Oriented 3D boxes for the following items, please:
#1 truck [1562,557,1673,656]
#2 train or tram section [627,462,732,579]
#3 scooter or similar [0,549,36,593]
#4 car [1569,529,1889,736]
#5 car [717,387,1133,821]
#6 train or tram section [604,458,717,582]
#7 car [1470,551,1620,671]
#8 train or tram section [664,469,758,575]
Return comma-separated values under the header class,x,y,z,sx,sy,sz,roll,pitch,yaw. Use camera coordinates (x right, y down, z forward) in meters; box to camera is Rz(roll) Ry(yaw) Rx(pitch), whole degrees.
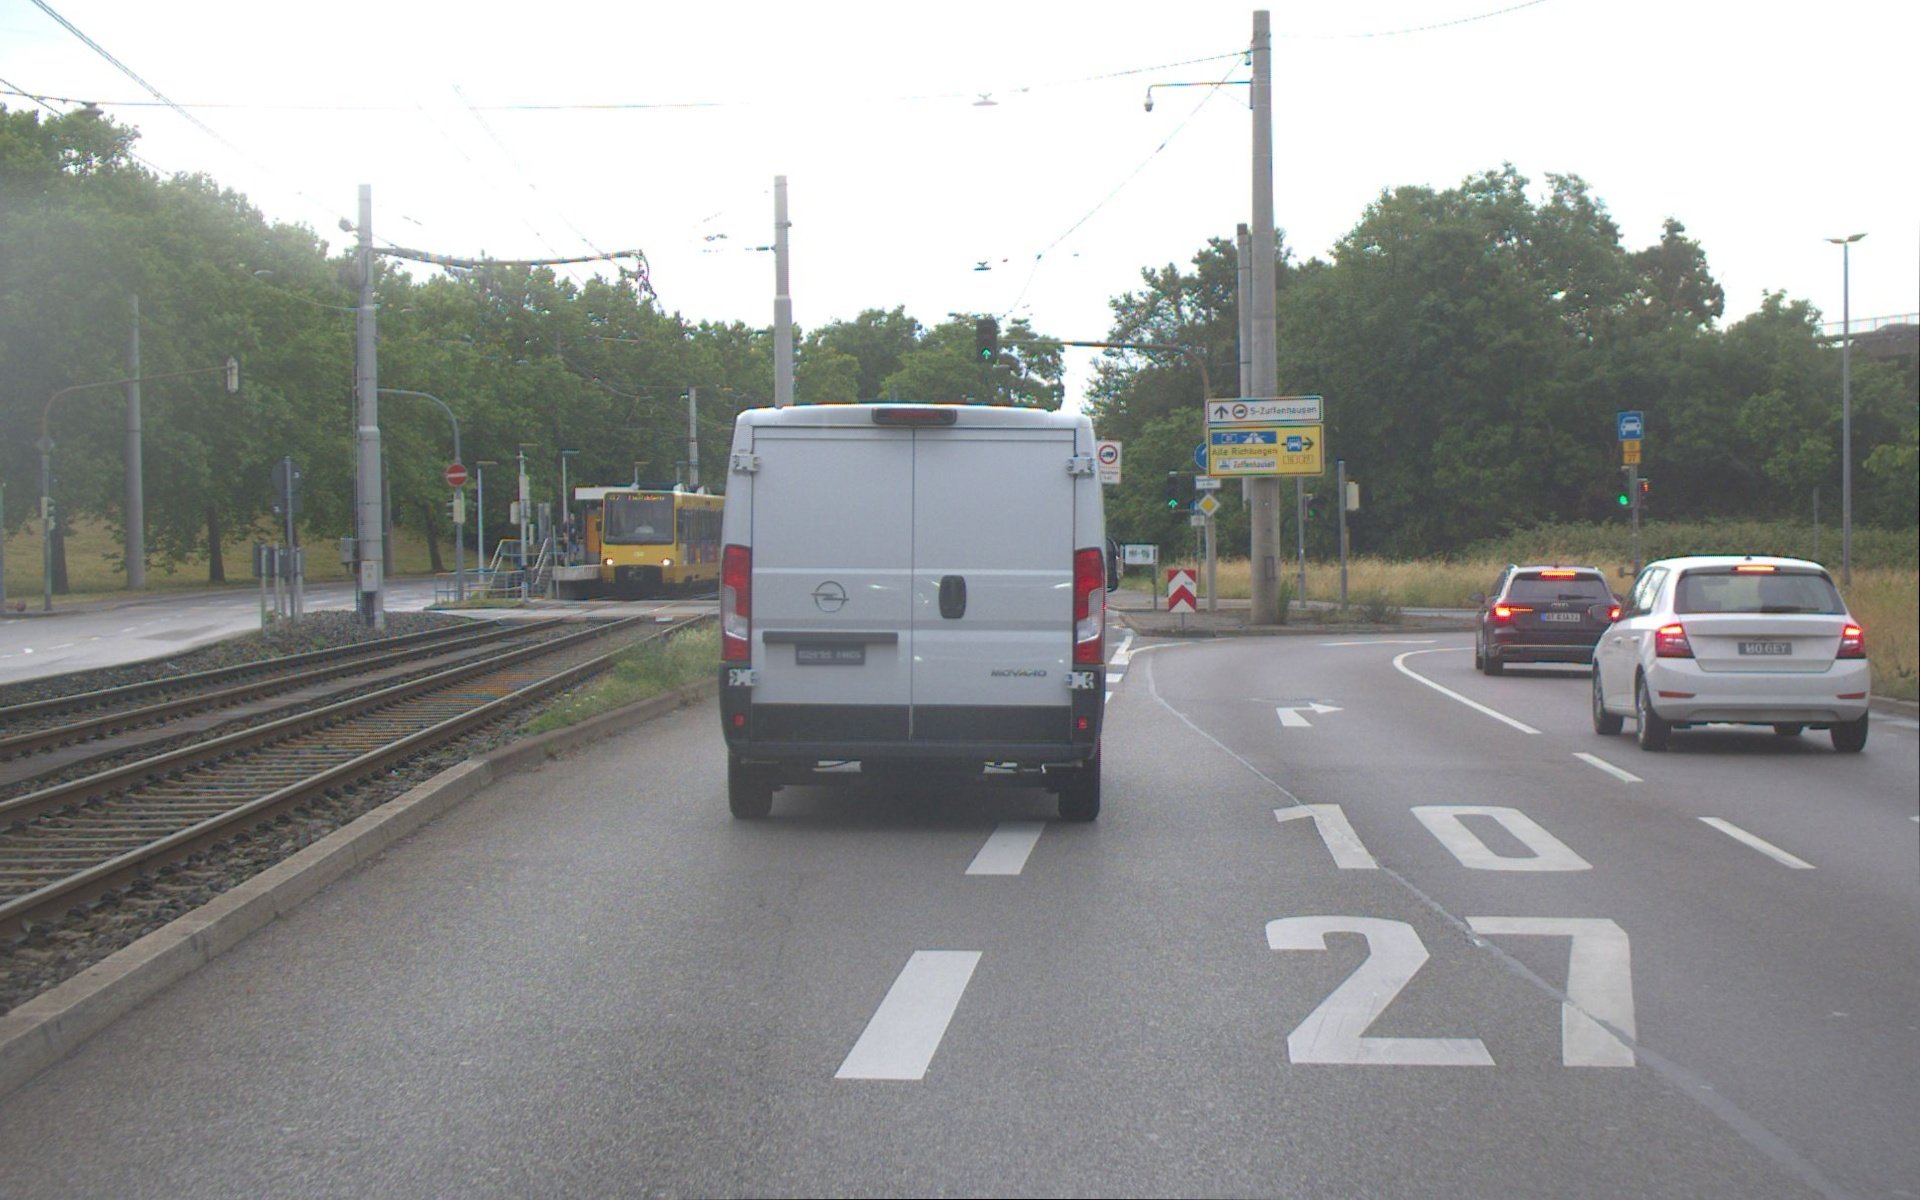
class,x,y,z,sx,sy,sz,roll,pitch,yaw
truck,12.920,0.107,67.738,1.994,1.784,4.413,-1,2,9
train or tram section,-9.792,-2.769,120.512,2.928,3.919,7.006,2,1,1
scooter or similar,-25.835,-0.796,93.585,0.380,1.157,1.277,1,2,44
car,5.874,0.199,26.665,1.746,1.452,3.671,1,1,2
car,-0.224,-0.052,20.165,2.090,2.189,5.061,1,2,-1
train or tram section,-9.884,-2.641,114.109,2.928,3.919,7.006,2,1,1
car,7.478,0.103,44.208,1.790,1.444,3.999,1,1,8
train or tram section,-9.594,-3.023,133.201,2.928,3.919,7.006,2,1,1
